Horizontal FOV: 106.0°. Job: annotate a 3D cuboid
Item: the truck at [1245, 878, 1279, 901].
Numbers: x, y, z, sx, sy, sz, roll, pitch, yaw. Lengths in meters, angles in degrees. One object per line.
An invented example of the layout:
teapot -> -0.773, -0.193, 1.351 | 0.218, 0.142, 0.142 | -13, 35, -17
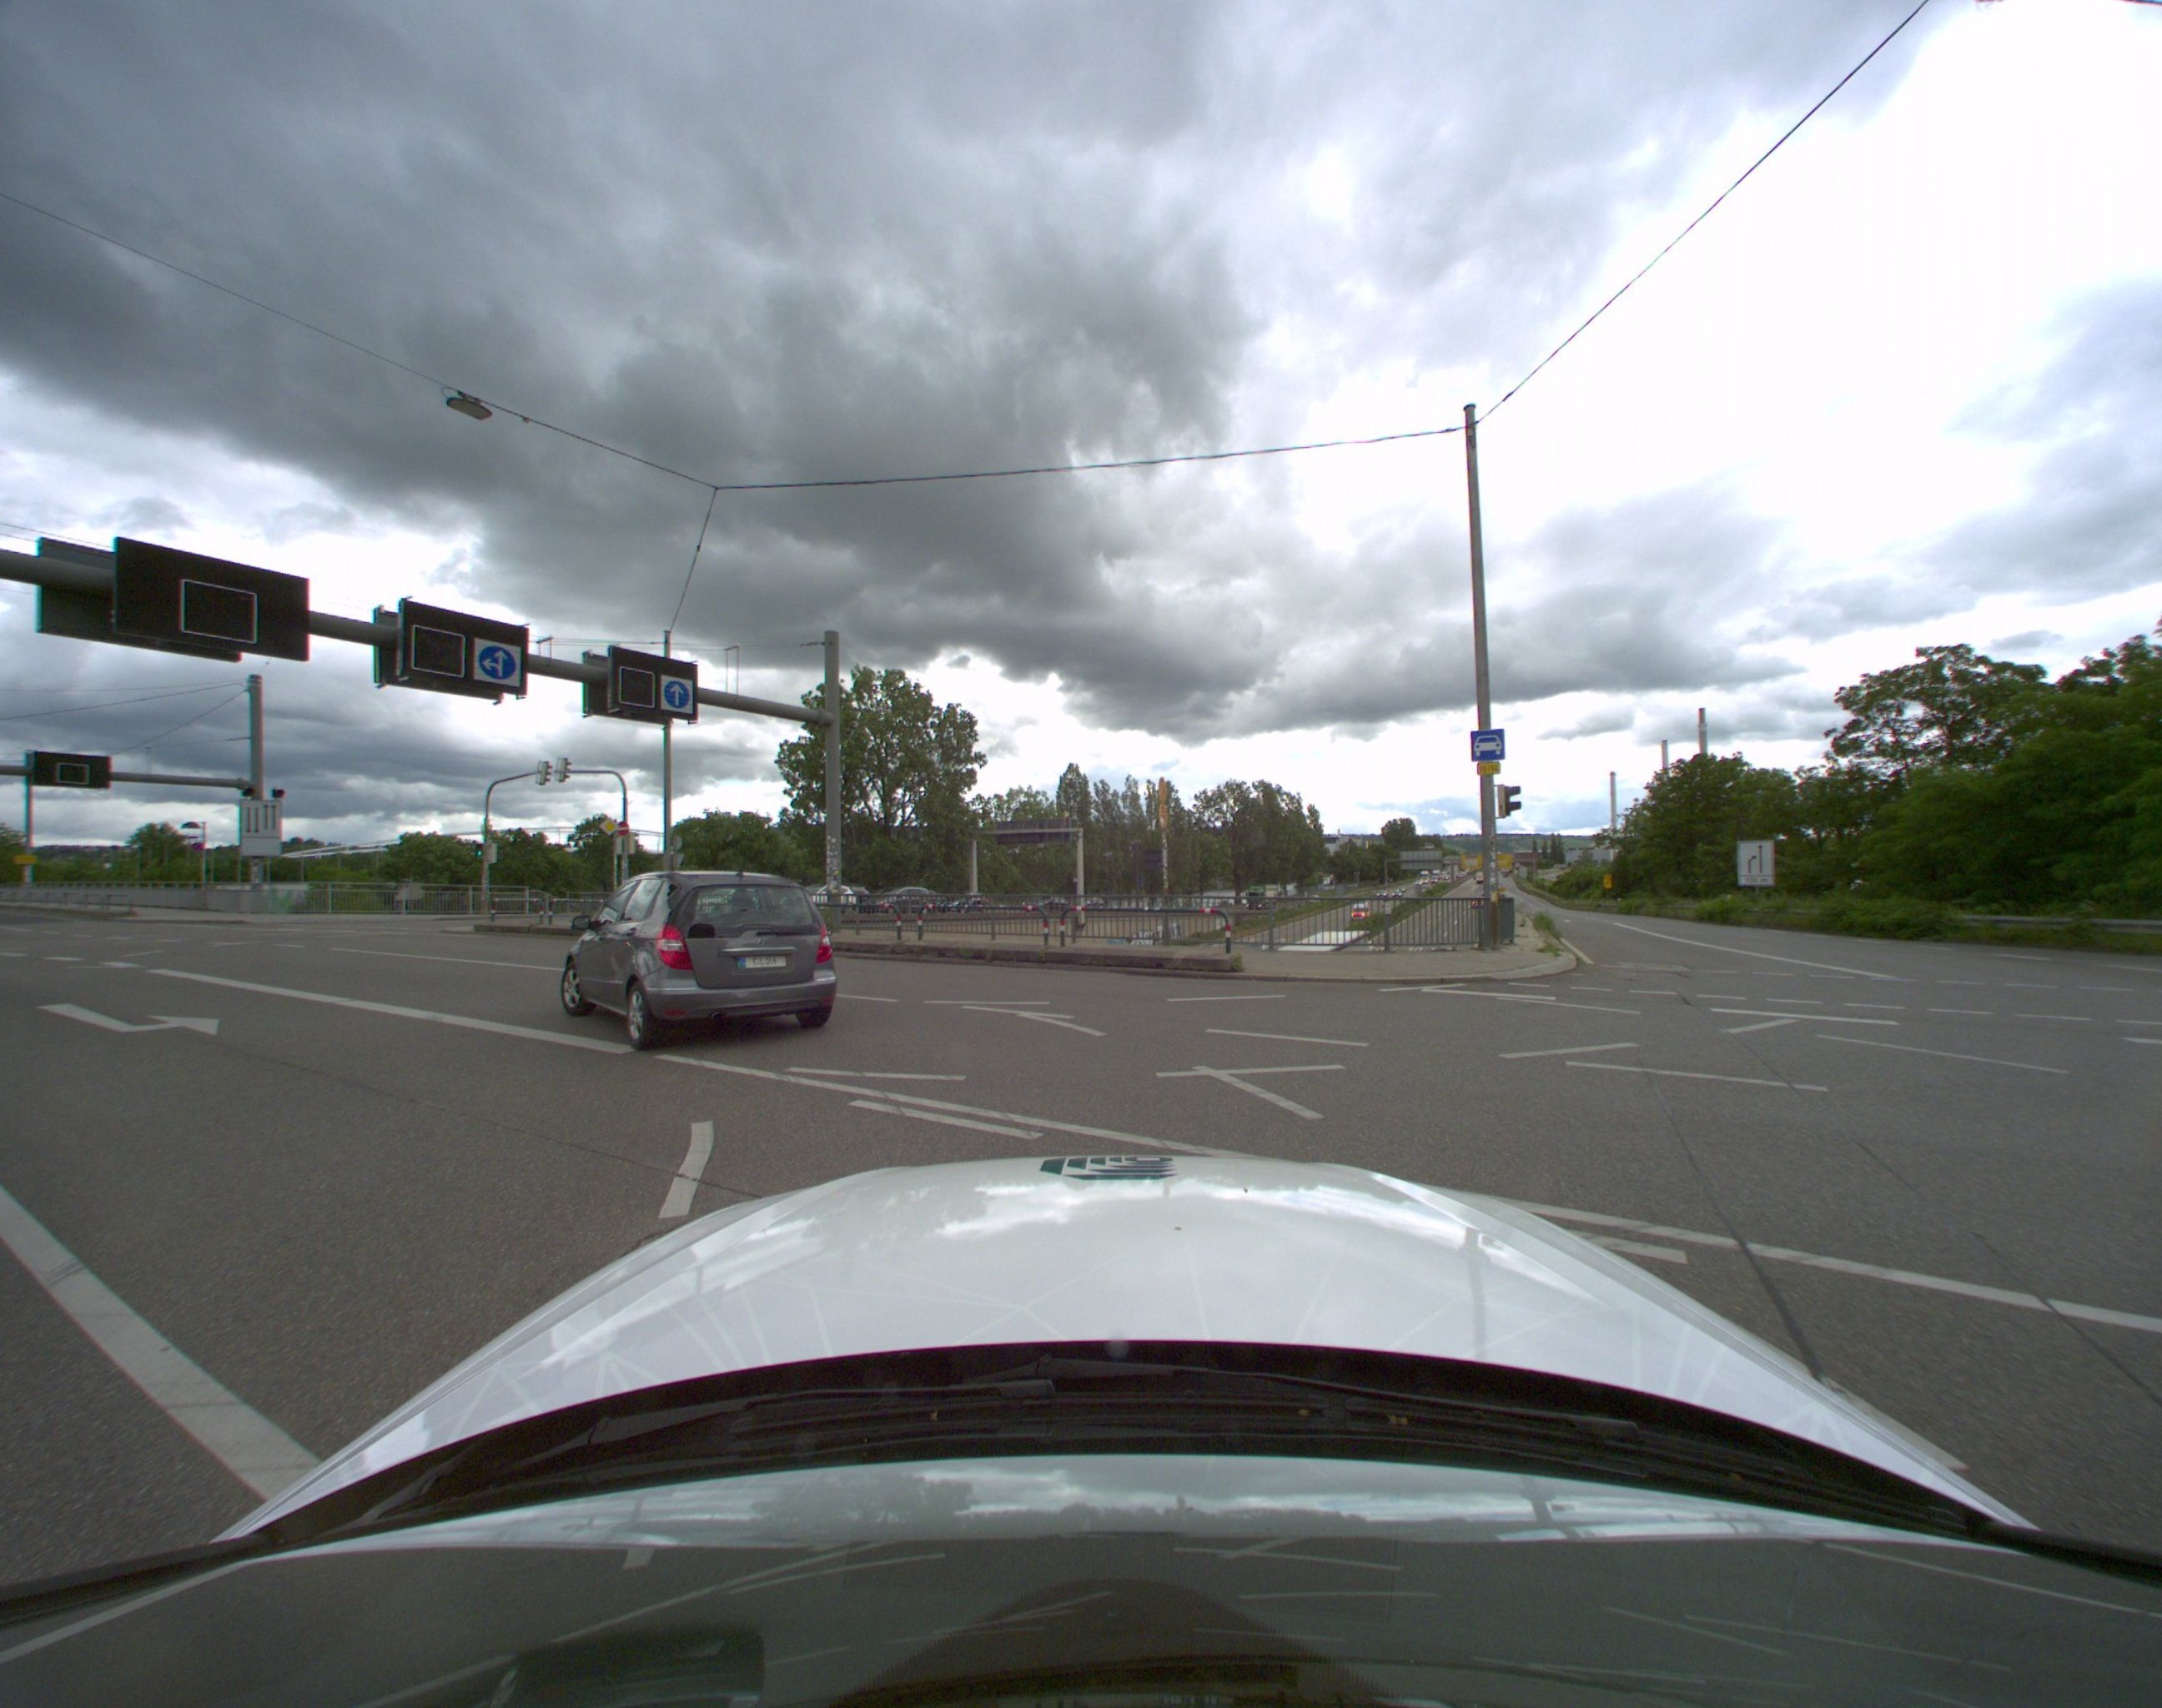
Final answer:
truck -> 29.341, 5.678, 131.520 | 2.747, 3.510, 9.315 | -1, -1, 30

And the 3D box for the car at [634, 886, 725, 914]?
car -> -21.427, 2.471, 43.622 | 1.674, 1.421, 4.177 | -3, -4, 28

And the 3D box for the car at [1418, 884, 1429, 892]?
car -> 81.946, 8.135, 194.760 | 1.974, 1.707, 4.103 | -3, -4, 28

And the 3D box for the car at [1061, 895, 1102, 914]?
car -> 0.073, 4.675, 75.631 | 1.974, 1.618, 4.024 | -3, -4, 29

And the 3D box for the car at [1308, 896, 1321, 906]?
car -> 46.500, 9.429, 162.127 | 1.975, 1.669, 3.793 | -1, 1, 25

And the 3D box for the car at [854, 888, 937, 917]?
car -> -11.015, 2.891, 48.710 | 1.974, 1.620, 4.992 | -3, -4, 29

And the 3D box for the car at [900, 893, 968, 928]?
car -> -10.143, 3.867, 56.635 | 2.185, 2.013, 4.573 | -1, 1, 29

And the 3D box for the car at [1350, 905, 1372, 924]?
car -> 37.354, 8.025, 108.469 | 1.974, 2.371, 4.616 | -3, -4, 28

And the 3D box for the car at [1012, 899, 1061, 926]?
car -> -3.436, 4.551, 63.605 | 1.975, 1.617, 4.025 | -1, 2, 28

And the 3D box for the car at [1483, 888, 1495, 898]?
car -> 77.834, 7.407, 155.426 | 1.975, 1.737, 4.019 | -3, -4, 25

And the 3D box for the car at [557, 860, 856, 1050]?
car -> -4.124, 0.911, 8.670 | 1.760, 1.551, 3.823 | 2, -4, -43

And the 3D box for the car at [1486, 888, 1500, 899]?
car -> 69.966, 6.652, 138.256 | 1.975, 1.737, 4.019 | -3, -4, 26

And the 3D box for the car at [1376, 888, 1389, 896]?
car -> 64.804, 8.128, 174.977 | 1.974, 1.707, 4.103 | -3, -4, 28

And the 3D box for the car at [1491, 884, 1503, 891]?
car -> 112.090, 9.008, 219.420 | 2.508, 1.902, 4.909 | -3, -4, 25

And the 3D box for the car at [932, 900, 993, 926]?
car -> -7.899, 3.925, 54.657 | 1.974, 1.618, 4.024 | -3, -4, 29

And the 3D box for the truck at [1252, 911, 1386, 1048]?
truck -> 12.357, 5.736, 40.874 | 3.543, 4.485, 13.263 | -1, 1, 29

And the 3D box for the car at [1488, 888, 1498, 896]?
car -> 98.041, 9.037, 193.618 | 1.975, 2.014, 4.022 | -3, -4, 25

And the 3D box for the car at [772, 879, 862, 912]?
car -> -13.960, 2.231, 43.363 | 1.974, 1.620, 4.368 | -3, -4, 30

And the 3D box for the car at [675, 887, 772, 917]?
car -> -16.560, 2.230, 37.869 | 1.768, 1.313, 3.787 | -3, -4, 30
